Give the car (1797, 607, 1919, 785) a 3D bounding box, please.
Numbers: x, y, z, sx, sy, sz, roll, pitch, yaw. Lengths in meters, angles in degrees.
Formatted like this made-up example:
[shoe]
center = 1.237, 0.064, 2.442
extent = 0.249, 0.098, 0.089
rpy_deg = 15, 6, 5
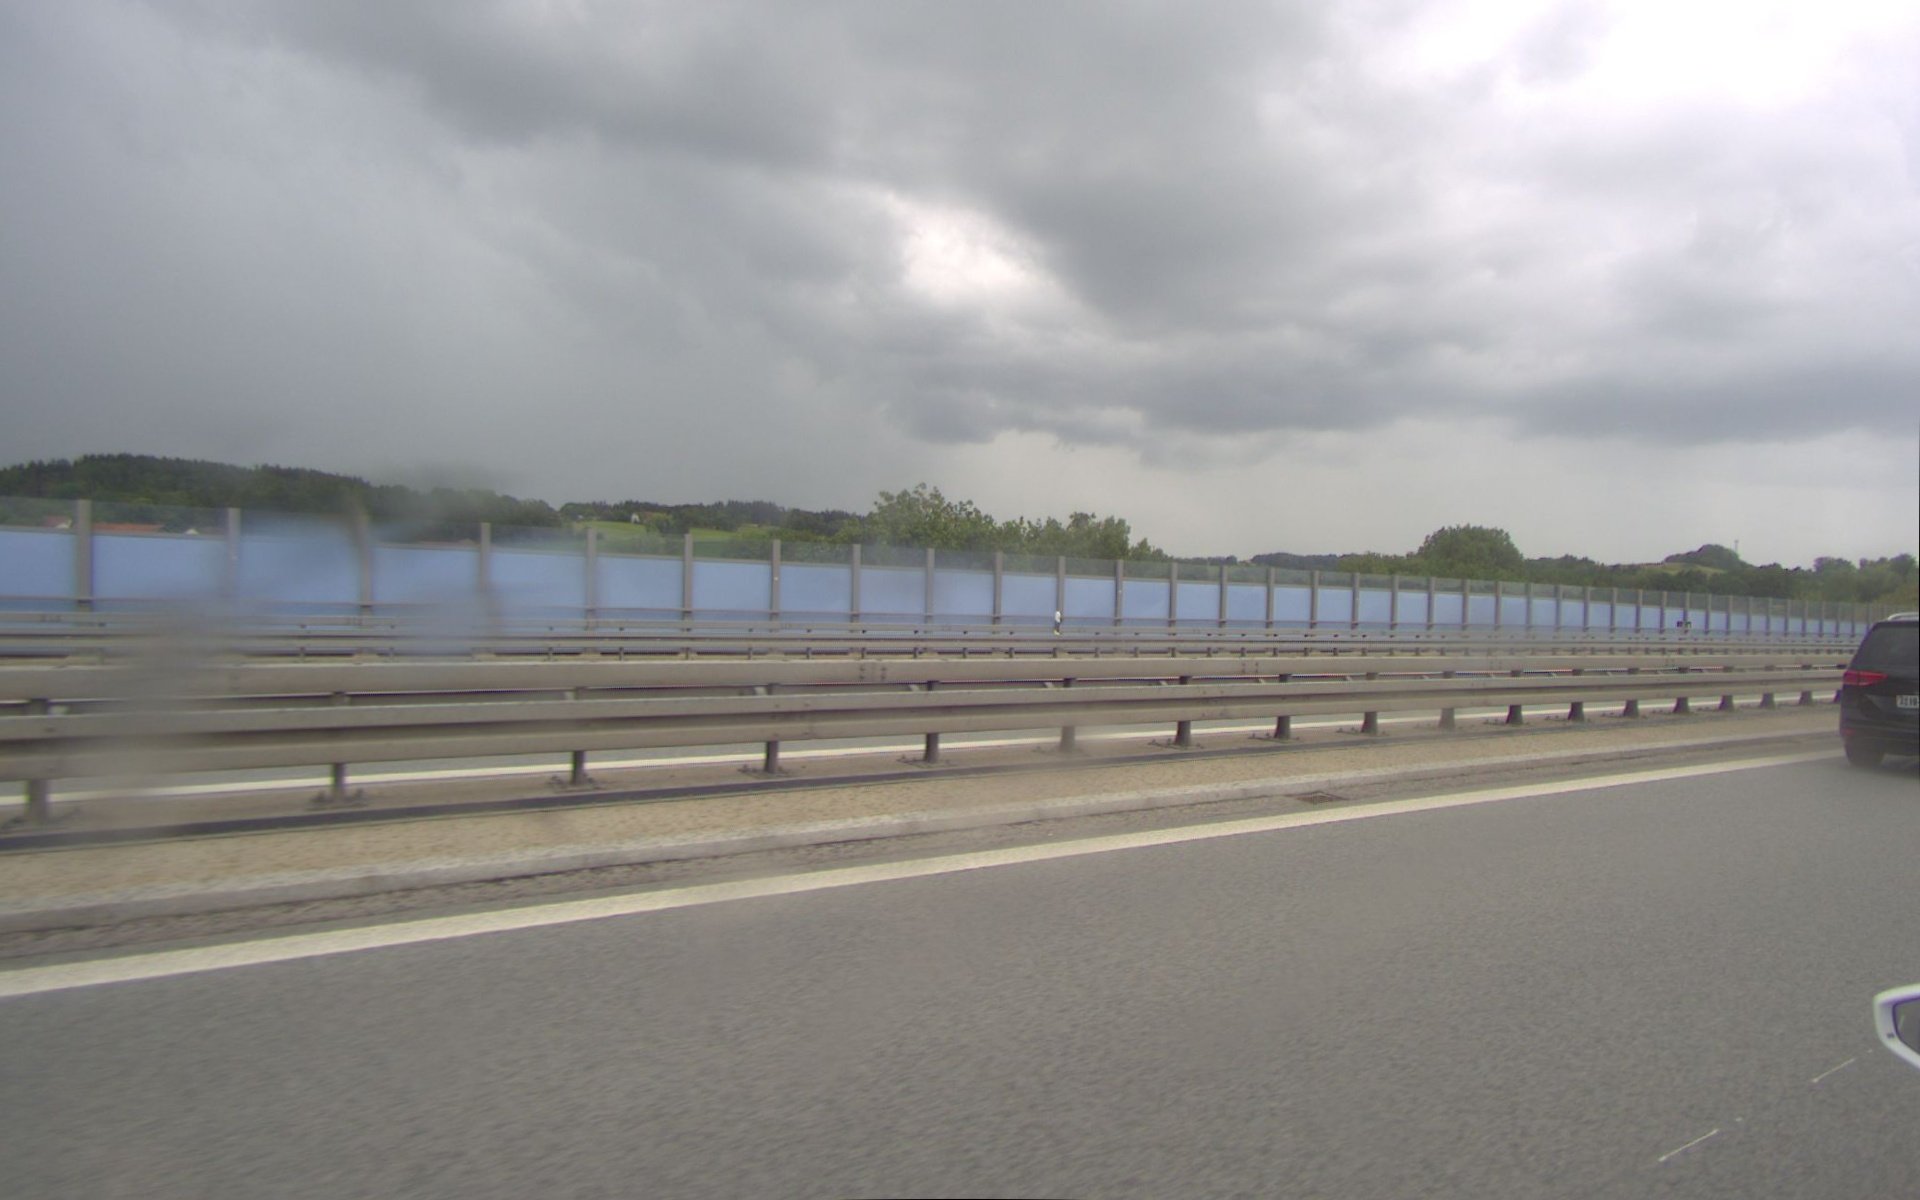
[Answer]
[car]
center = 11.498, 0.976, 11.040
extent = 5.335, 1.693, 1.886
rpy_deg = 1, 0, -31
